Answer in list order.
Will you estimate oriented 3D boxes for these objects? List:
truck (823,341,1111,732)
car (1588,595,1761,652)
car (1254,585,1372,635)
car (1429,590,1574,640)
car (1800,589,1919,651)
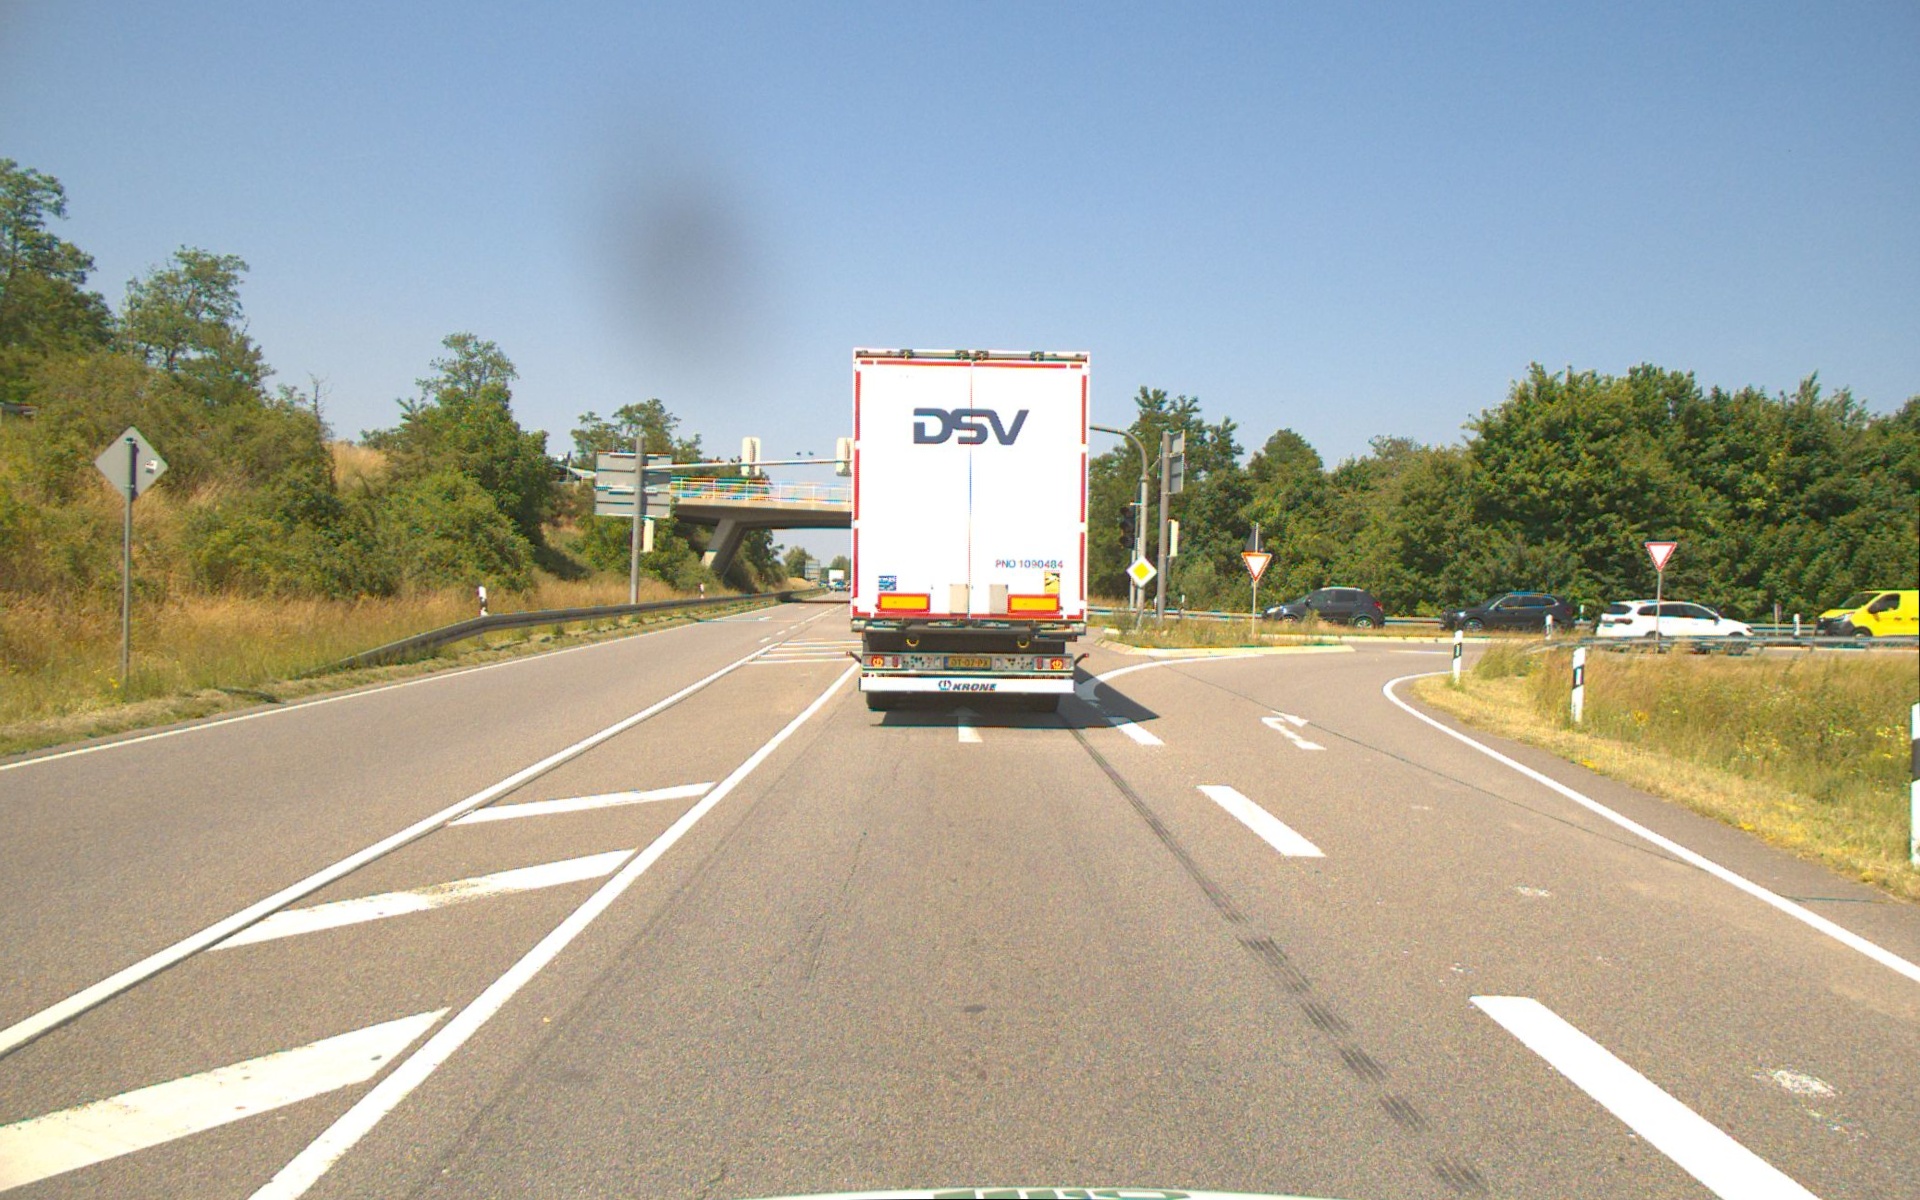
[{"bbox_3d":[0.024,-0.664,22.112,2.927,4.011,9.874,1,0,-1],"label":"truck"},{"bbox_3d":[20.872,0.682,48.383,4.384,1.594,1.736,0,0,-8],"label":"car"},{"bbox_3d":[12.480,0.357,58.695,3.901,1.668,1.842,1,0,5],"label":"car"},{"bbox_3d":[18.501,0.506,56.670,4.393,1.626,1.768,1,0,2],"label":"car"},{"bbox_3d":[31.706,0.688,56.286,5.212,2.049,2.000,1,0,1],"label":"car"}]
